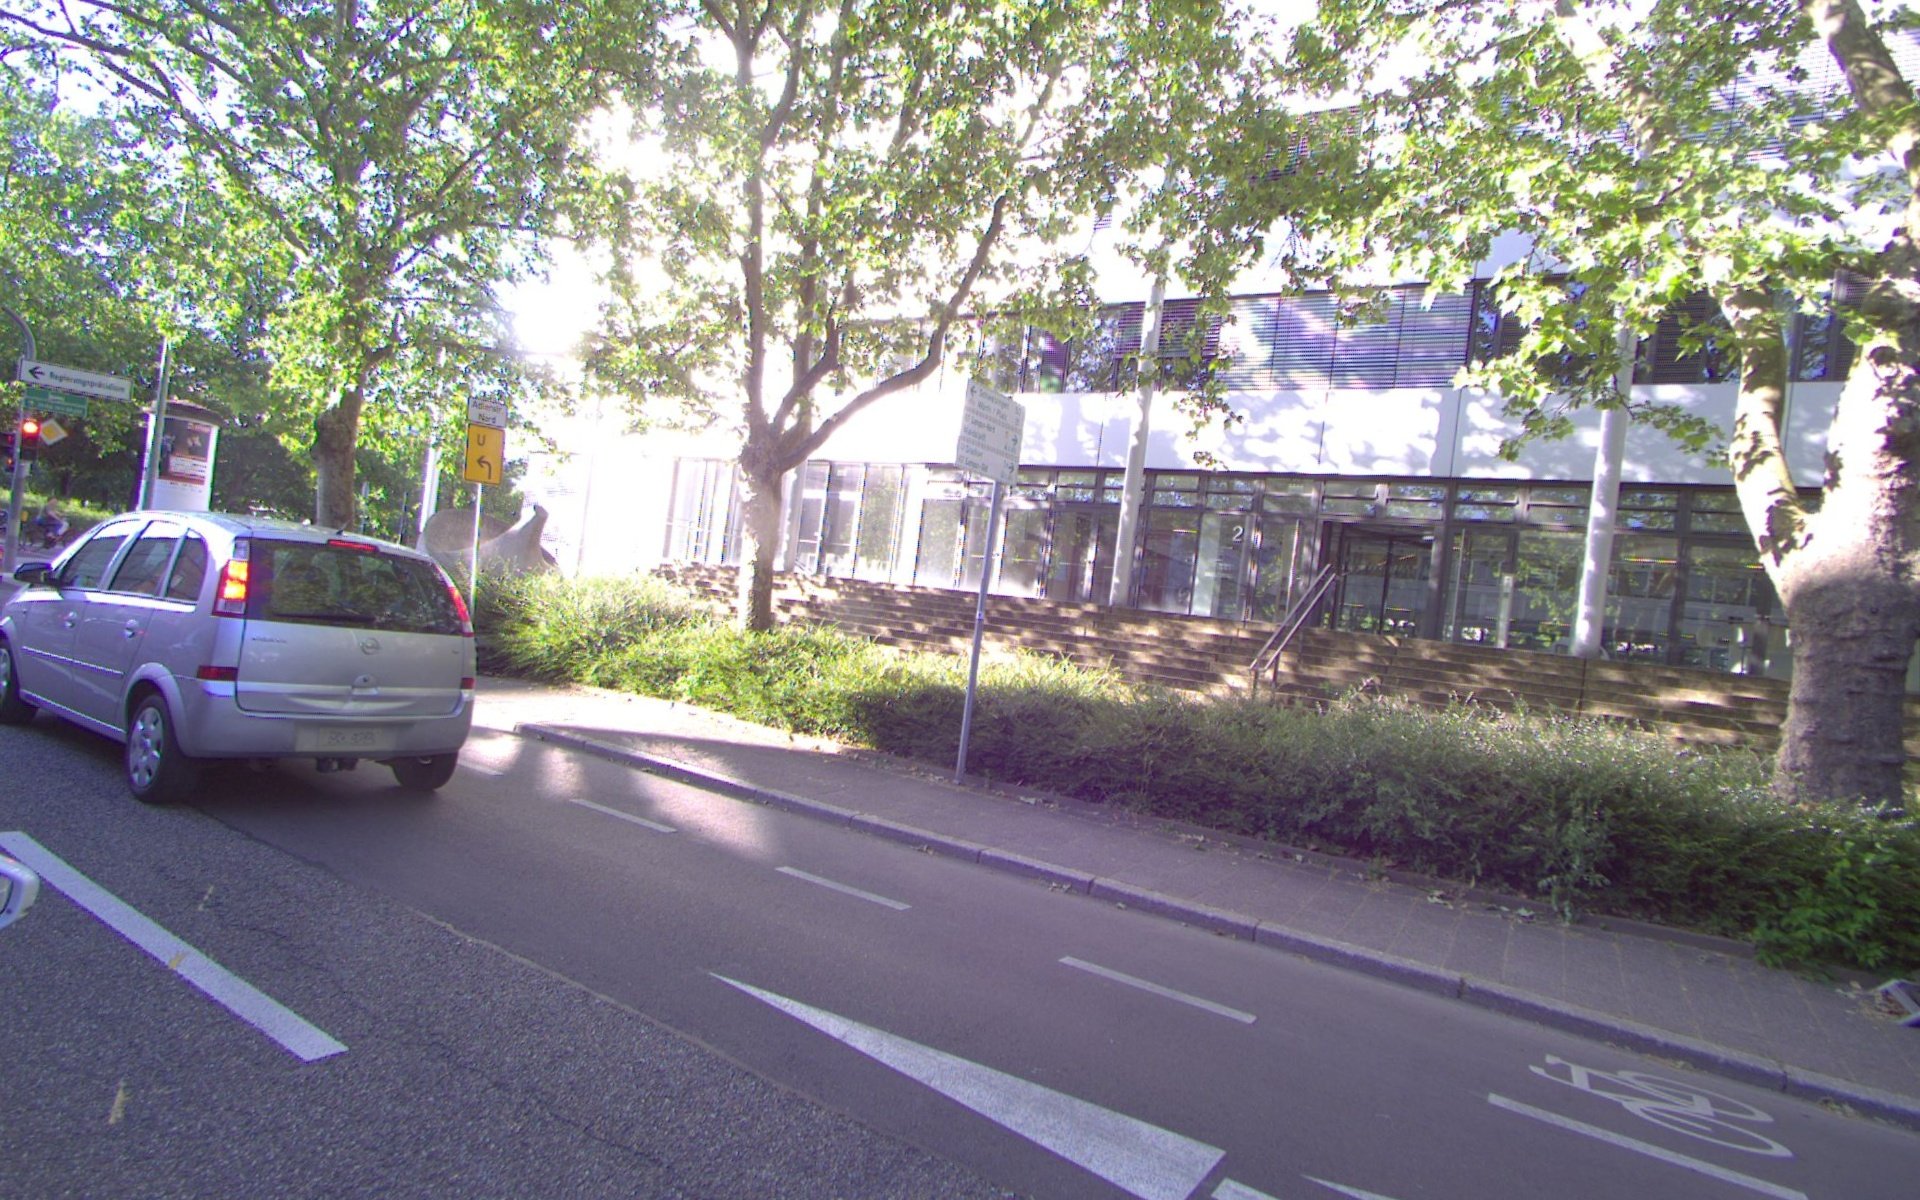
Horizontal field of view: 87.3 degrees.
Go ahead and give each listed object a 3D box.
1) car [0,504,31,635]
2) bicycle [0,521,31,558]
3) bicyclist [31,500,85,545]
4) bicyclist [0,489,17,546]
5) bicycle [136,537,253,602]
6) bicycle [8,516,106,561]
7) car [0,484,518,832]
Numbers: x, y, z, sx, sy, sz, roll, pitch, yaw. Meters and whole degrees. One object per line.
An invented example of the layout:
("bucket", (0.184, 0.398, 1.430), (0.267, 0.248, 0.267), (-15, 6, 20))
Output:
("car", (-13.292, -0.658, 12.049), (4.592, 1.481, 1.917), (7, -2, 32))
("bicycle", (-26.483, -1.743, 27.081), (0.721, 0.914, 1.990), (7, -1, 30))
("bicyclist", (-26.729, -2.295, 29.816), (0.610, 1.168, 0.992), (7, -1, 33))
("bicyclist", (-26.392, -2.308, 27.137), (0.700, 1.508, 1.118), (7, -1, 31))
("bicycle", (-16.004, -0.627, 21.072), (0.502, 1.110, 1.806), (7, -1, 34))
("bicycle", (-26.763, -1.808, 29.858), (0.641, 1.040, 1.983), (7, -1, 33))
("car", (-4.932, 0.241, 6.719), (3.797, 1.621, 1.704), (7, -1, 34))
